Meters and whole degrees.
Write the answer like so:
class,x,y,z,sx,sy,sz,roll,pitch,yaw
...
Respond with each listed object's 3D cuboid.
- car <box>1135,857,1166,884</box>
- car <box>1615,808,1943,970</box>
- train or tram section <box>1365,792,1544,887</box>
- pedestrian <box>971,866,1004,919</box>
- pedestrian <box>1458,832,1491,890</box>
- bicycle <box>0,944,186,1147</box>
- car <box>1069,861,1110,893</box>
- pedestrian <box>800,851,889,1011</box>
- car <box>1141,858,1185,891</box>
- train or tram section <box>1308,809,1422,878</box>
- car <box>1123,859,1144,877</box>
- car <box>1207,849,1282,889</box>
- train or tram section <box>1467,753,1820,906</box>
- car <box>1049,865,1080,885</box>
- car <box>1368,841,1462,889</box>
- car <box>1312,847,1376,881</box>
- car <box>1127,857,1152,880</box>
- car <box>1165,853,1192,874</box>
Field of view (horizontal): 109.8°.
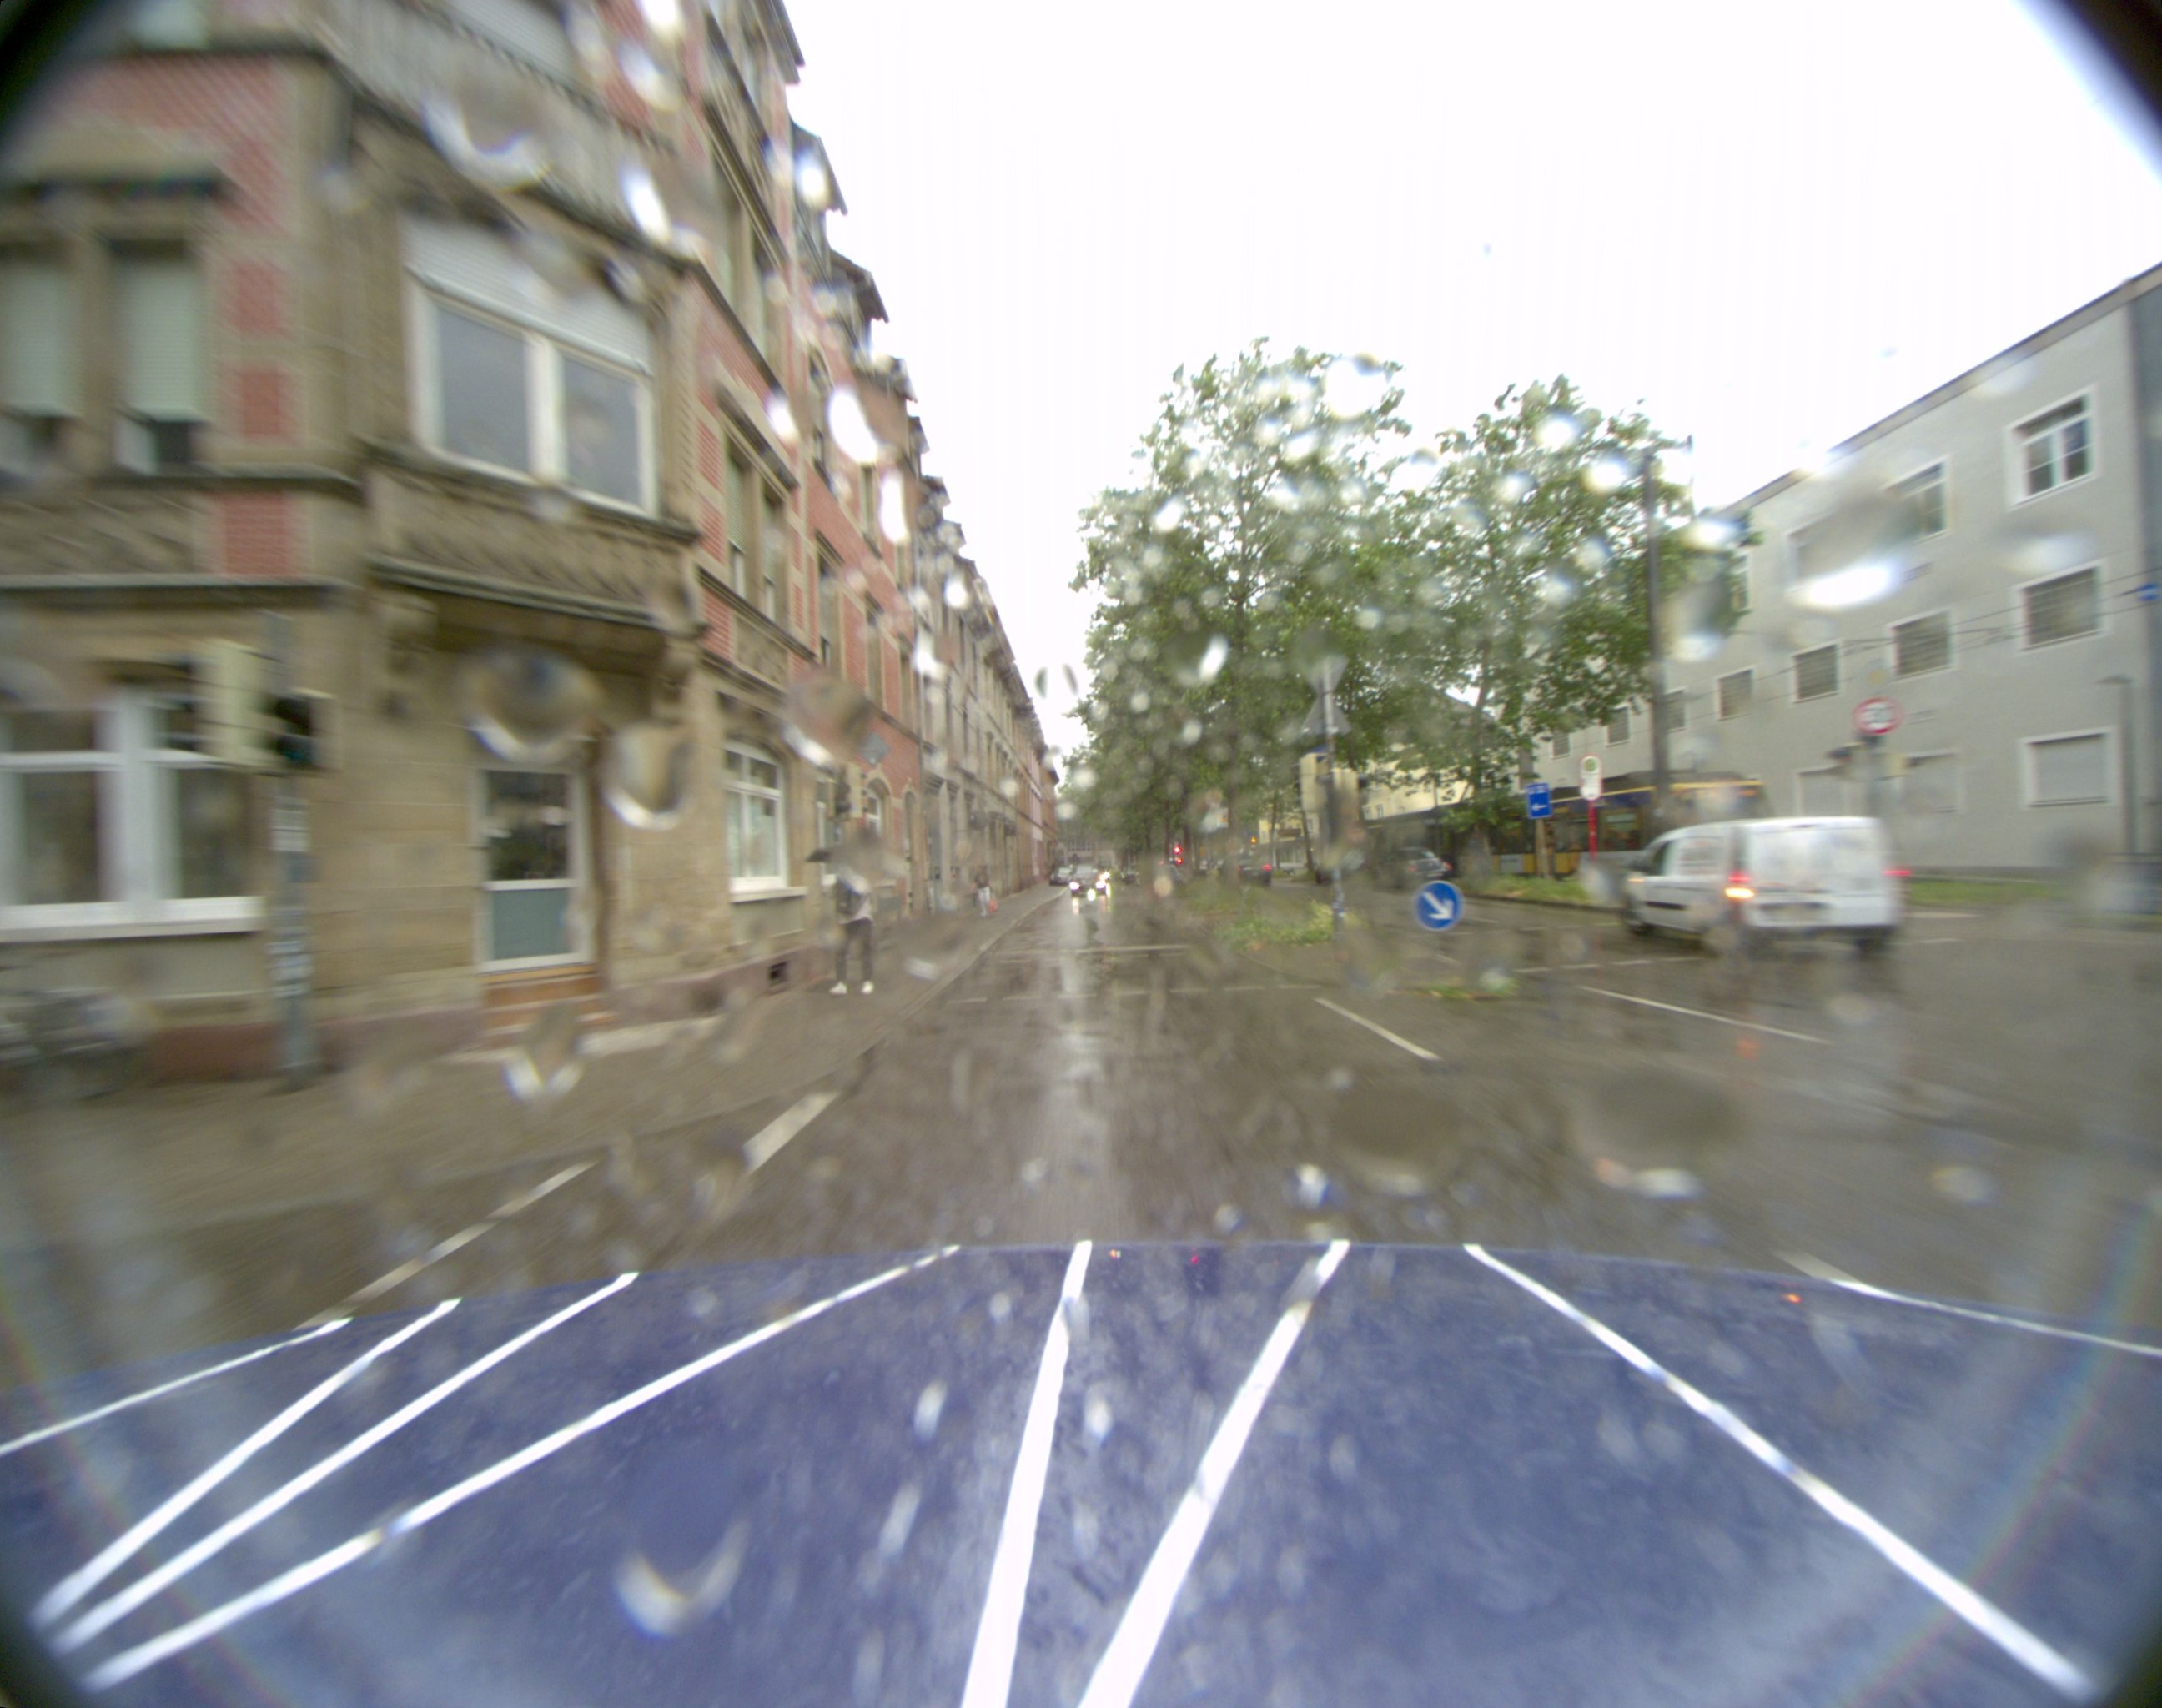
class,x,y,z,sx,sy,sz,roll,pitch,yaw
car,4.264,1.001,46.887,1.571,1.567,3.328,-3,-1,1
car,9.451,0.433,10.813,1.934,1.838,4.072,-3,-1,19
train or tram section,17.082,-0.580,36.139,2.907,3.621,11.552,-3,0,1
pedestrian,-2.898,1.191,23.610,0.849,1.564,0.576,3,0,1
pedestrian,12.708,0.226,24.573,0.663,1.844,0.635,-3,0,2
bicycle,-7.461,1.312,5.192,1.691,1.215,0.678,-3,0,-6
car,0.521,1.233,42.330,1.976,1.629,4.162,-2,-1,4
pedestrian,-2.953,0.921,9.566,0.787,1.902,0.929,1,0,1
car,3.969,0.973,37.361,1.732,1.473,4.006,-3,-1,1
train or tram section,17.365,-0.571,47.675,2.907,3.621,11.552,-3,0,1
car,4.457,1.168,64.317,1.664,1.420,3.423,-3,-1,3
car,7.337,0.666,34.624,2.062,1.609,4.673,-3,-1,-3
train or tram section,16.823,-0.591,24.556,2.907,3.621,11.552,-3,0,1
car,-1.227,1.537,57.616,1.976,1.359,4.162,2,0,3
car,12.363,0.417,28.394,1.676,1.500,3.974,-6,-1,0
car,12.532,0.495,36.439,1.676,1.376,3.705,-6,-1,0
car,4.354,1.030,56.373,1.663,1.567,3.424,-3,-1,7
car,7.939,0.774,61.904,1.676,1.653,3.649,-3,-1,1
